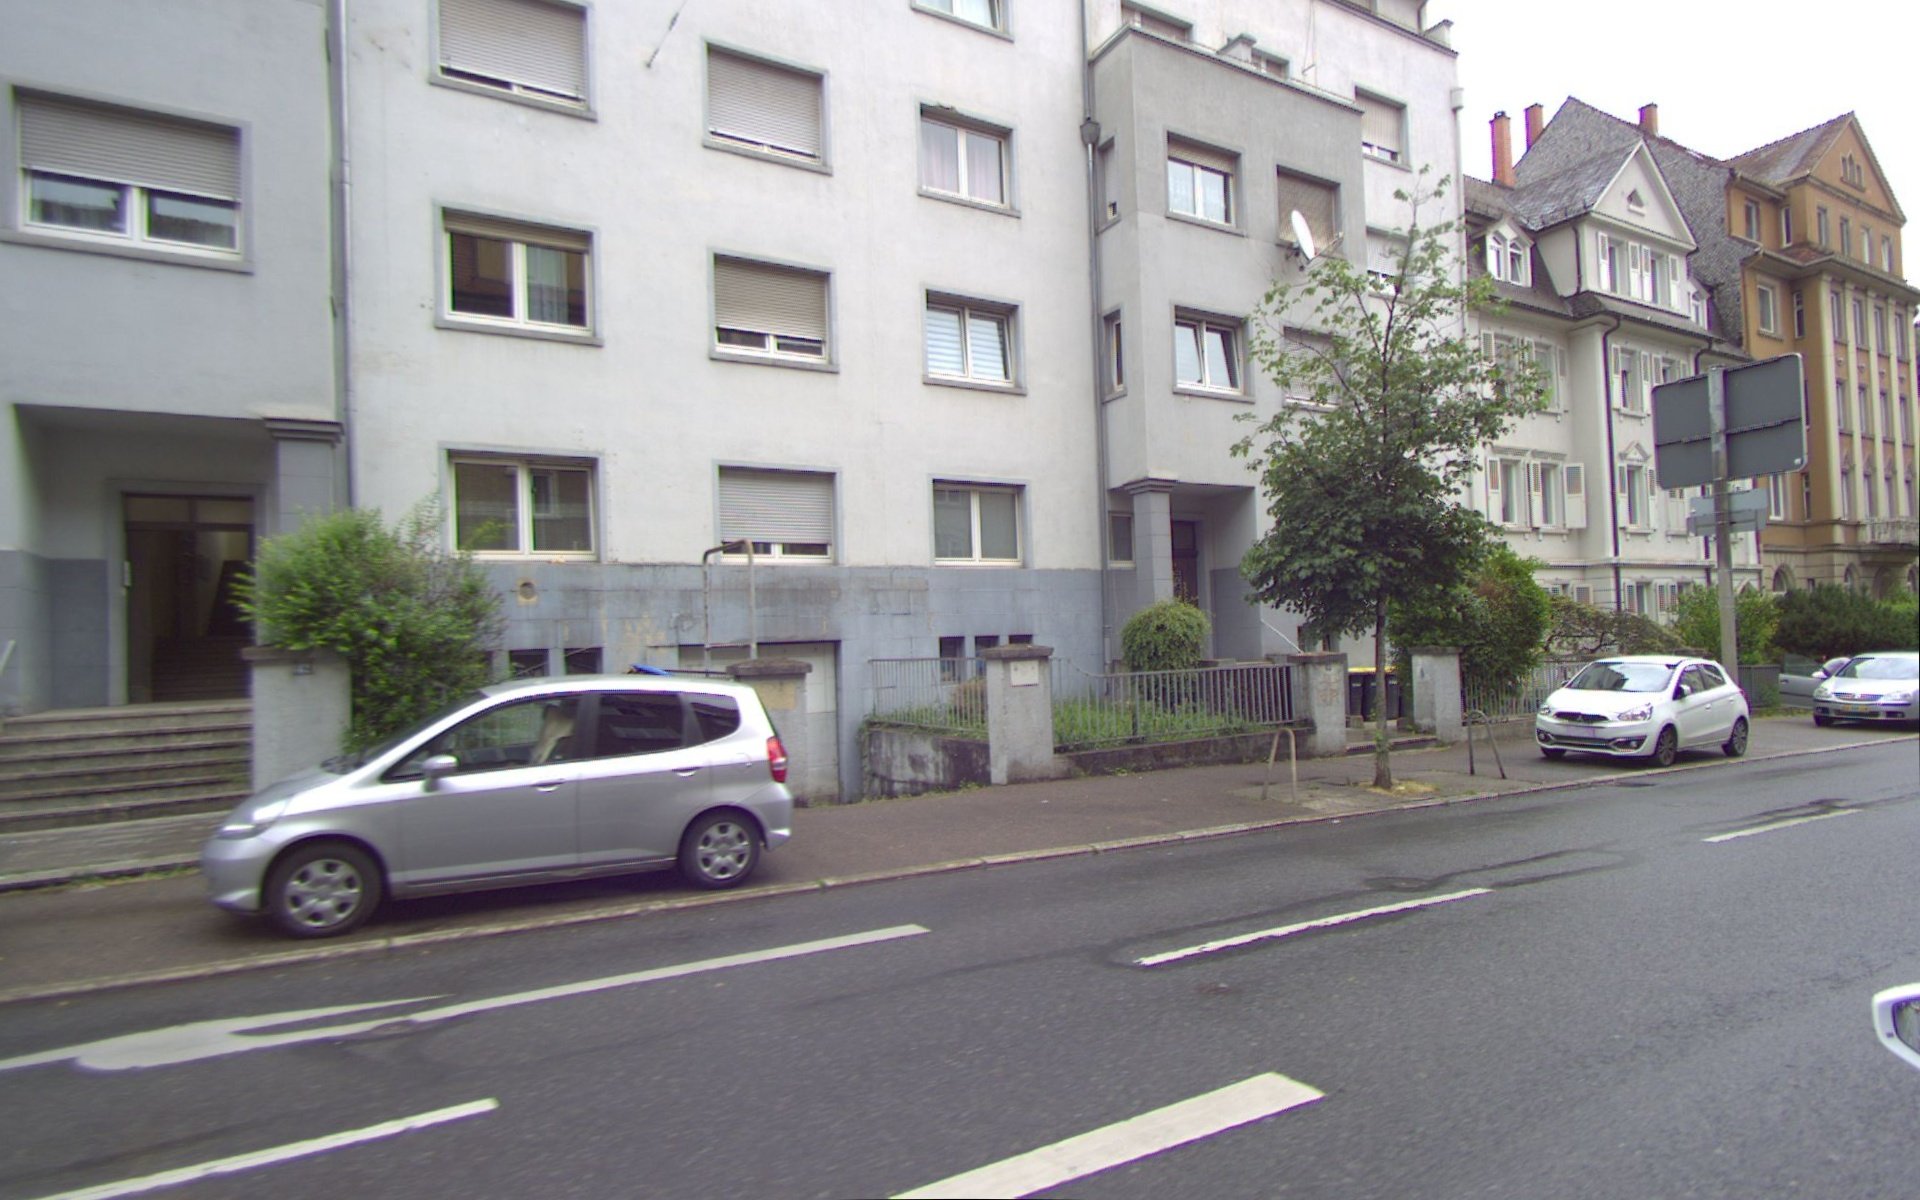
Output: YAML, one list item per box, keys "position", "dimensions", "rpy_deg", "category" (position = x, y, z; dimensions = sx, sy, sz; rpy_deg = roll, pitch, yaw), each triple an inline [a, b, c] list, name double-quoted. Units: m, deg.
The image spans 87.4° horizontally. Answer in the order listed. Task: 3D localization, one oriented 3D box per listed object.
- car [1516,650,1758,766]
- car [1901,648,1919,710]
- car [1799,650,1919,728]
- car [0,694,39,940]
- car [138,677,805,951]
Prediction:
- position: [10.188, 1.532, 15.062]
  dimensions: [3.755, 1.527, 1.637]
  rpy_deg: [2, -3, -32]
  category: "car"
- position: [23.765, 1.836, 23.397]
  dimensions: [3.889, 1.408, 1.675]
  rpy_deg: [1, -2, -30]
  category: "car"
- position: [18.847, 1.734, 20.311]
  dimensions: [3.863, 1.408, 1.675]
  rpy_deg: [1, -2, -30]
  category: "car"
- position: [-7.140, 1.210, 4.714]
  dimensions: [3.844, 1.414, 1.593]
  rpy_deg: [2, -3, -32]
  category: "car"
- position: [-3.203, 1.312, 7.202]
  dimensions: [3.838, 1.470, 1.595]
  rpy_deg: [2, -3, -27]
  category: "car"
